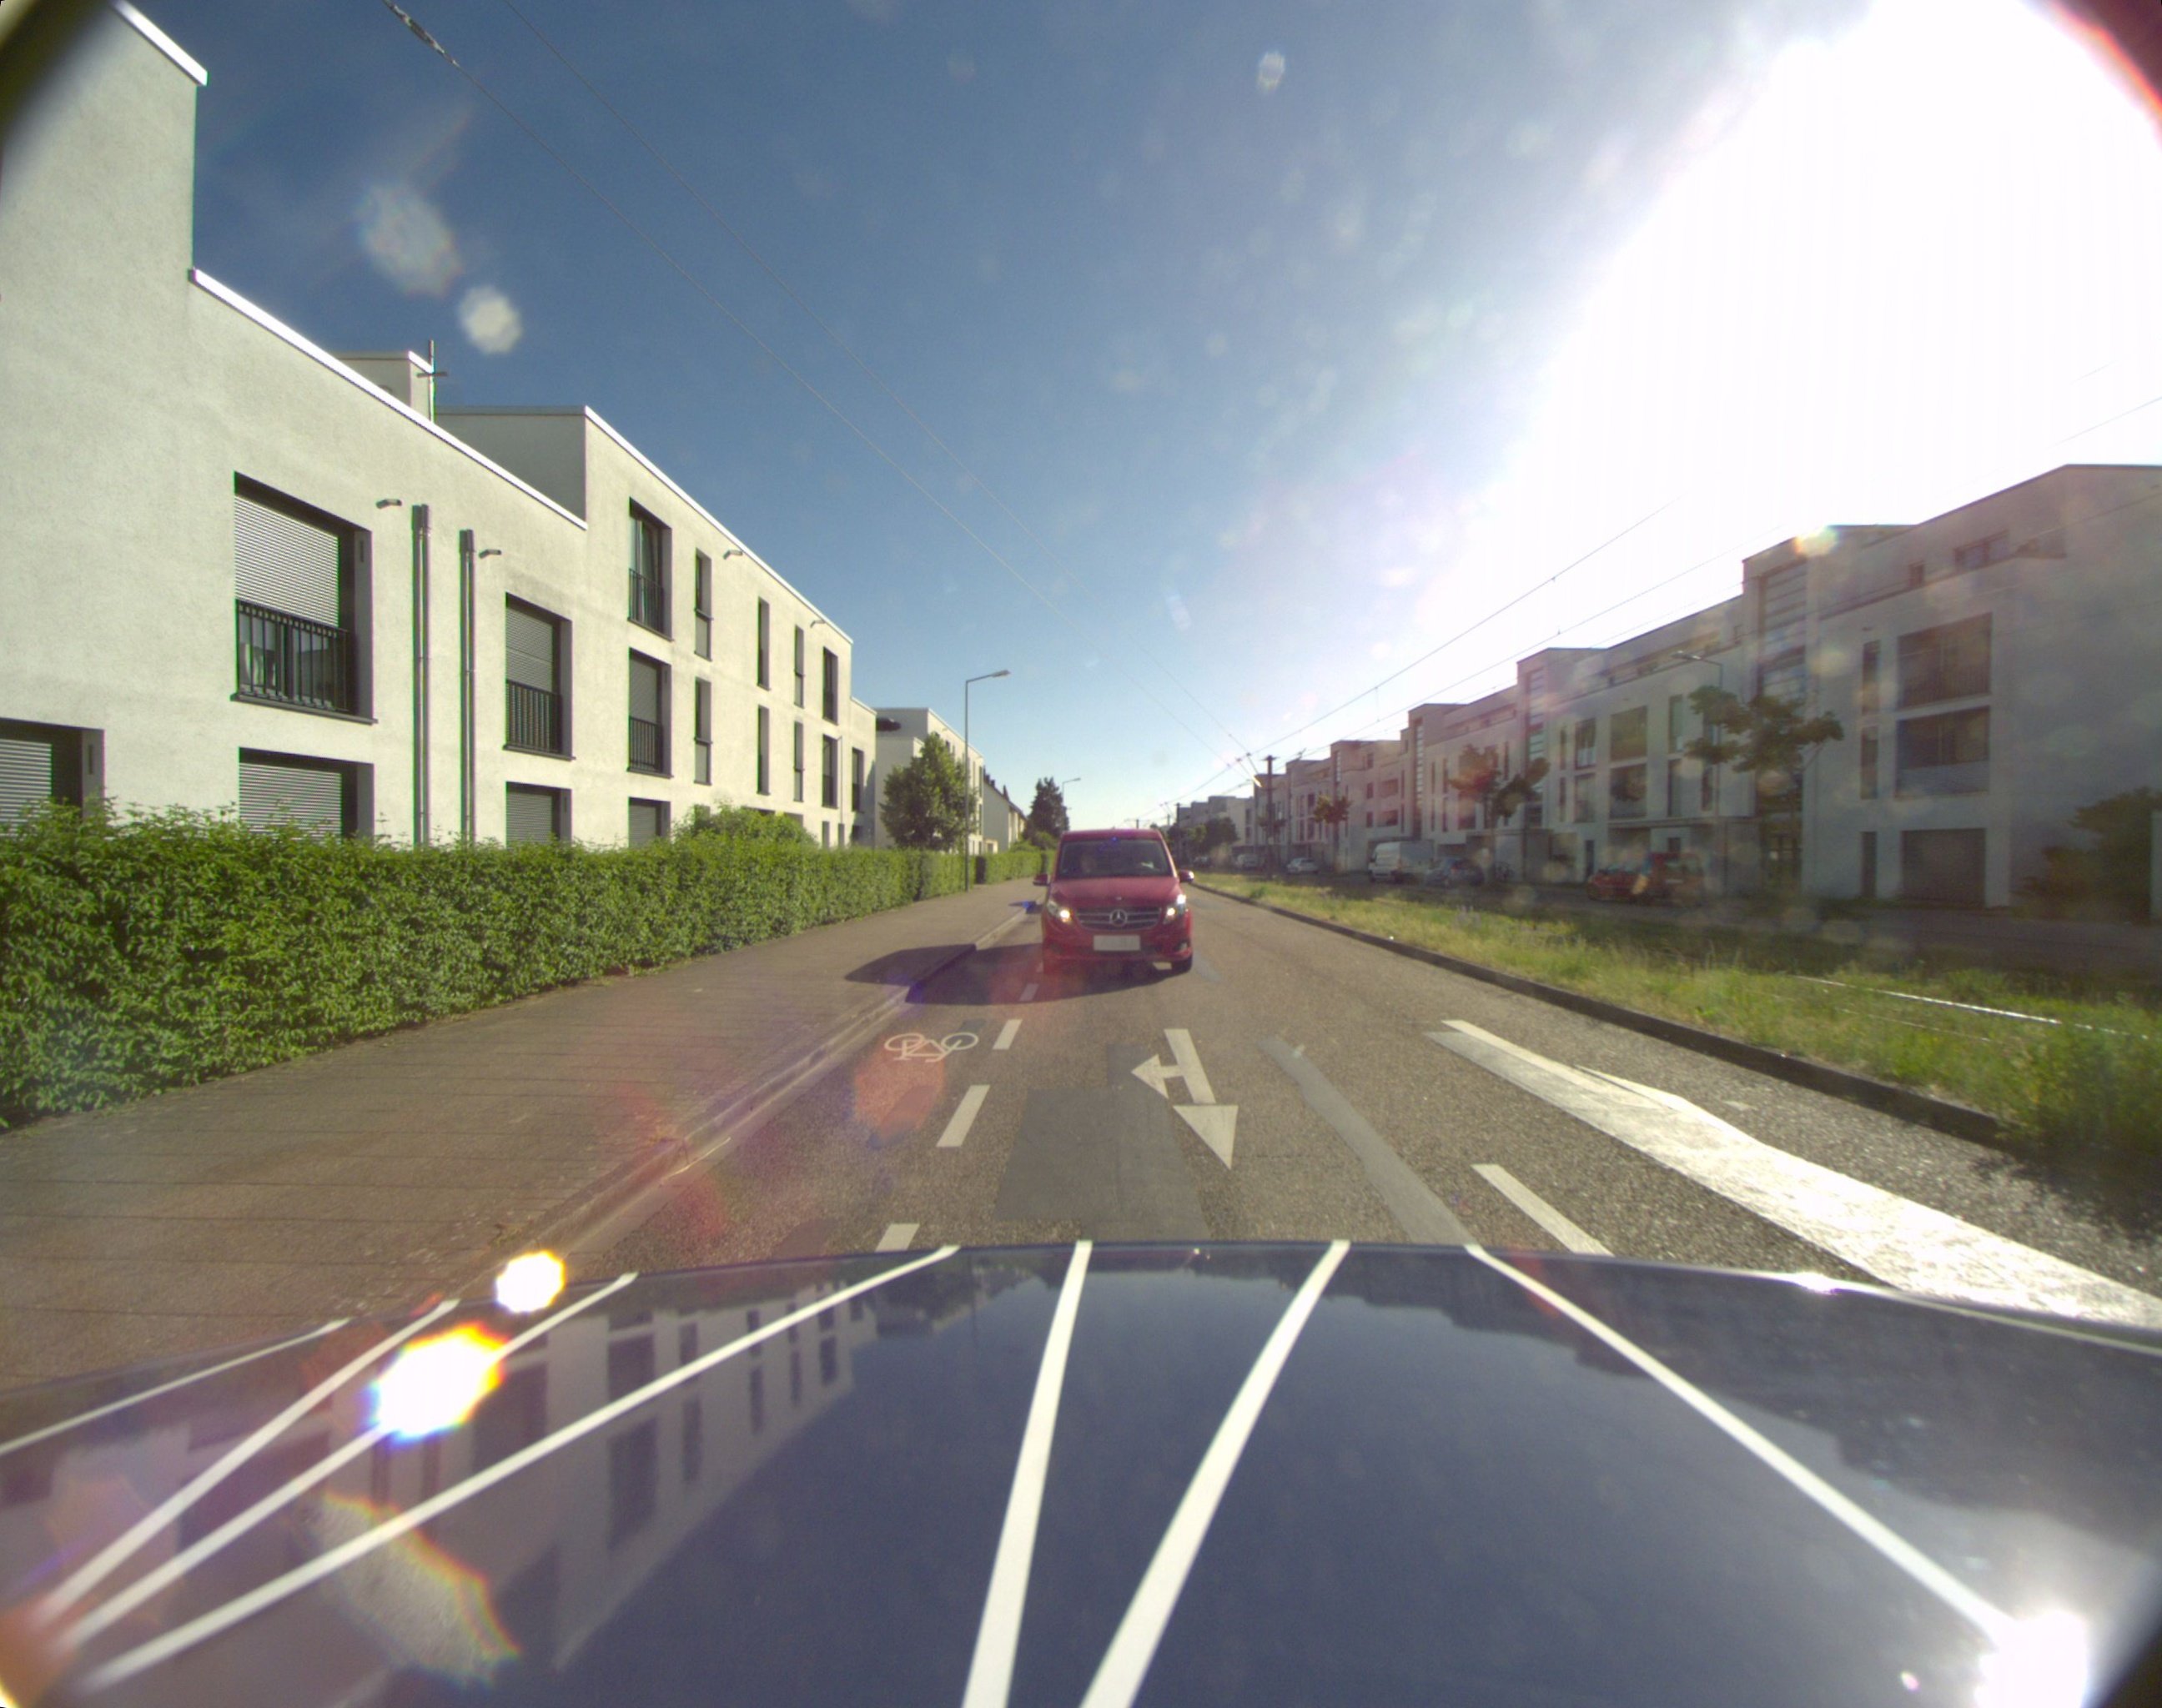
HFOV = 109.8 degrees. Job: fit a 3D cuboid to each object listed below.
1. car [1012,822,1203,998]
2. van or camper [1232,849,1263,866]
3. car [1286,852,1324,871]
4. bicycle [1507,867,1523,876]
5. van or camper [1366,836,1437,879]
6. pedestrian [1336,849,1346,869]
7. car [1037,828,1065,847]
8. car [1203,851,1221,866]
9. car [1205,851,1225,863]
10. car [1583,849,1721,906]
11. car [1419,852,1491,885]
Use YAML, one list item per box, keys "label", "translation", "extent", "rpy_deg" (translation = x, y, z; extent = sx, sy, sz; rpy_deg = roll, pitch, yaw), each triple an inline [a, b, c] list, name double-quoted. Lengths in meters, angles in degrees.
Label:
- label: "car"
  translation: [0.410, 0.644, 11.237]
  extent: [2.127, 1.958, 5.084]
  rpy_deg: [-2, 0, 2]
- label: "van or camper"
  translation: [19.230, 0.378, 88.194]
  extent: [2.272, 1.838, 6.285]
  rpy_deg: [-1, 0, 0]
- label: "car"
  translation: [19.580, 0.613, 66.683]
  extent: [2.046, 1.577, 4.120]
  rpy_deg: [1, 0, -1]
- label: "bicycle"
  translation: [25.989, 1.041, 45.456]
  extent: [0.354, 0.495, 1.061]
  rpy_deg: [1, 0, 1]
- label: "van or camper"
  translation: [19.311, 0.203, 46.099]
  extent: [2.197, 2.450, 5.260]
  rpy_deg: [1, 0, 1]
- label: "pedestrian"
  translation: [21.971, 0.434, 64.202]
  extent: [0.619, 1.634, 0.612]
  rpy_deg: [-2, 1, -5]
- label: "car"
  translation: [-3.988, -2.212, 102.310]
  extent: [3.182, 2.333, 6.176]
  rpy_deg: [-2, 0, 3]
- label: "car"
  translation: [18.402, 0.576, 106.882]
  extent: [1.787, 2.002, 3.999]
  rpy_deg: [-2, 0, -2]
- label: "car"
  translation: [17.585, 0.327, 99.893]
  extent: [1.867, 1.430, 3.496]
  rpy_deg: [-2, 1, -3]
- label: "car"
  translation: [19.082, 0.716, 25.623]
  extent: [1.793, 1.713, 3.908]
  rpy_deg: [1, 1, 3]
- label: "car"
  translation: [19.274, 0.729, 39.347]
  extent: [1.934, 1.604, 3.836]
  rpy_deg: [1, 0, 1]
